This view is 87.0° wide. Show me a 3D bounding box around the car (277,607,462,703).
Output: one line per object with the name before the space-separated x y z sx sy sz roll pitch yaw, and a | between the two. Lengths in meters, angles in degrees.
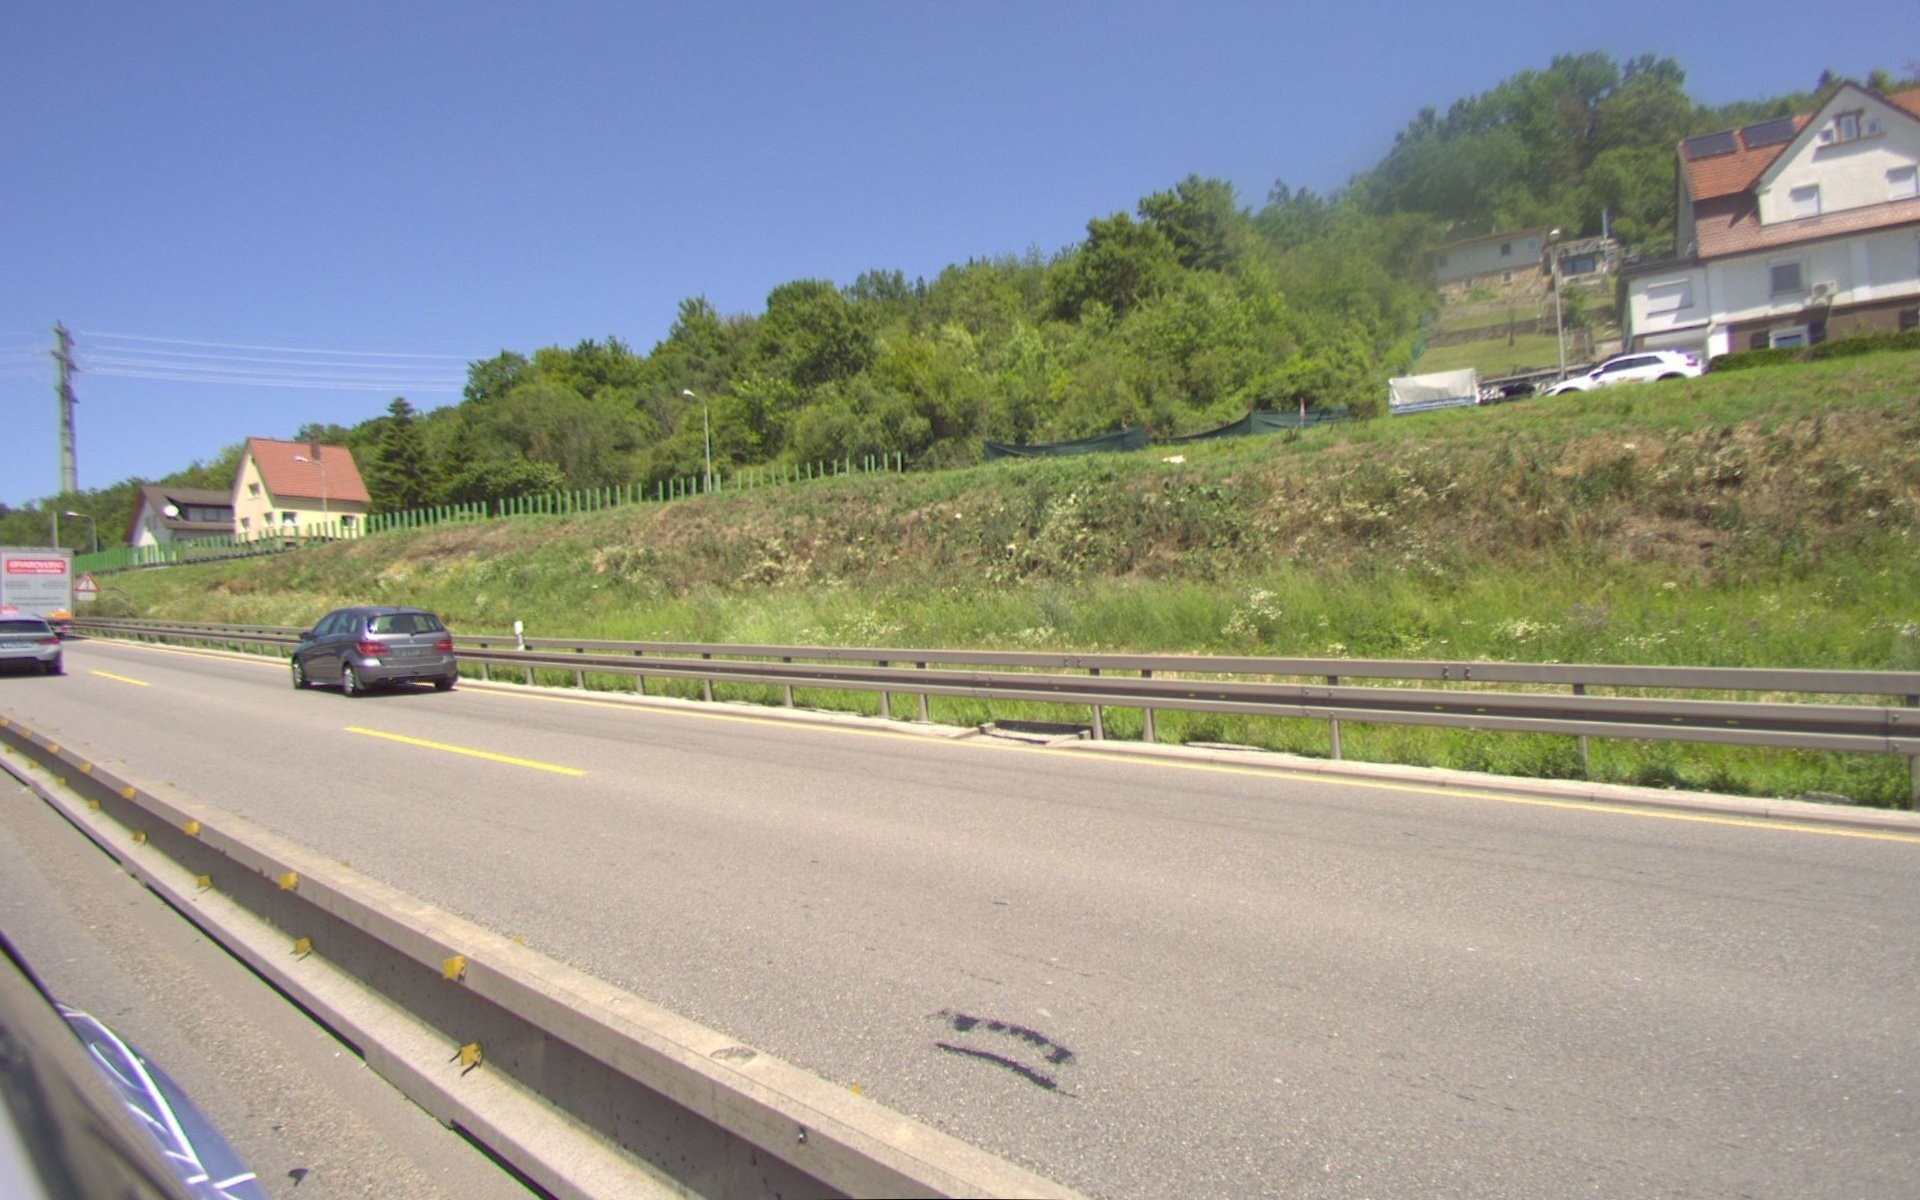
car | -11.365 0.975 19.348 4.283 1.594 1.755 -1 0 41

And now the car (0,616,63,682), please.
car | -22.826 1.114 23.925 4.626 1.444 1.810 -1 -1 41

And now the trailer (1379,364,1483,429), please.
trailer | 15.815 -6.776 33.950 3.025 1.527 1.889 0 0 30

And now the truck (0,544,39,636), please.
truck | -50.051 -0.461 52.169 10.379 4.430 2.594 -1 0 41

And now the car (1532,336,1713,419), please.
car | 20.242 -6.766 31.163 4.537 1.668 1.979 0 0 31

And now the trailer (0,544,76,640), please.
trailer | -42.833 -0.306 45.934 8.700 4.019 2.899 -1 0 41
